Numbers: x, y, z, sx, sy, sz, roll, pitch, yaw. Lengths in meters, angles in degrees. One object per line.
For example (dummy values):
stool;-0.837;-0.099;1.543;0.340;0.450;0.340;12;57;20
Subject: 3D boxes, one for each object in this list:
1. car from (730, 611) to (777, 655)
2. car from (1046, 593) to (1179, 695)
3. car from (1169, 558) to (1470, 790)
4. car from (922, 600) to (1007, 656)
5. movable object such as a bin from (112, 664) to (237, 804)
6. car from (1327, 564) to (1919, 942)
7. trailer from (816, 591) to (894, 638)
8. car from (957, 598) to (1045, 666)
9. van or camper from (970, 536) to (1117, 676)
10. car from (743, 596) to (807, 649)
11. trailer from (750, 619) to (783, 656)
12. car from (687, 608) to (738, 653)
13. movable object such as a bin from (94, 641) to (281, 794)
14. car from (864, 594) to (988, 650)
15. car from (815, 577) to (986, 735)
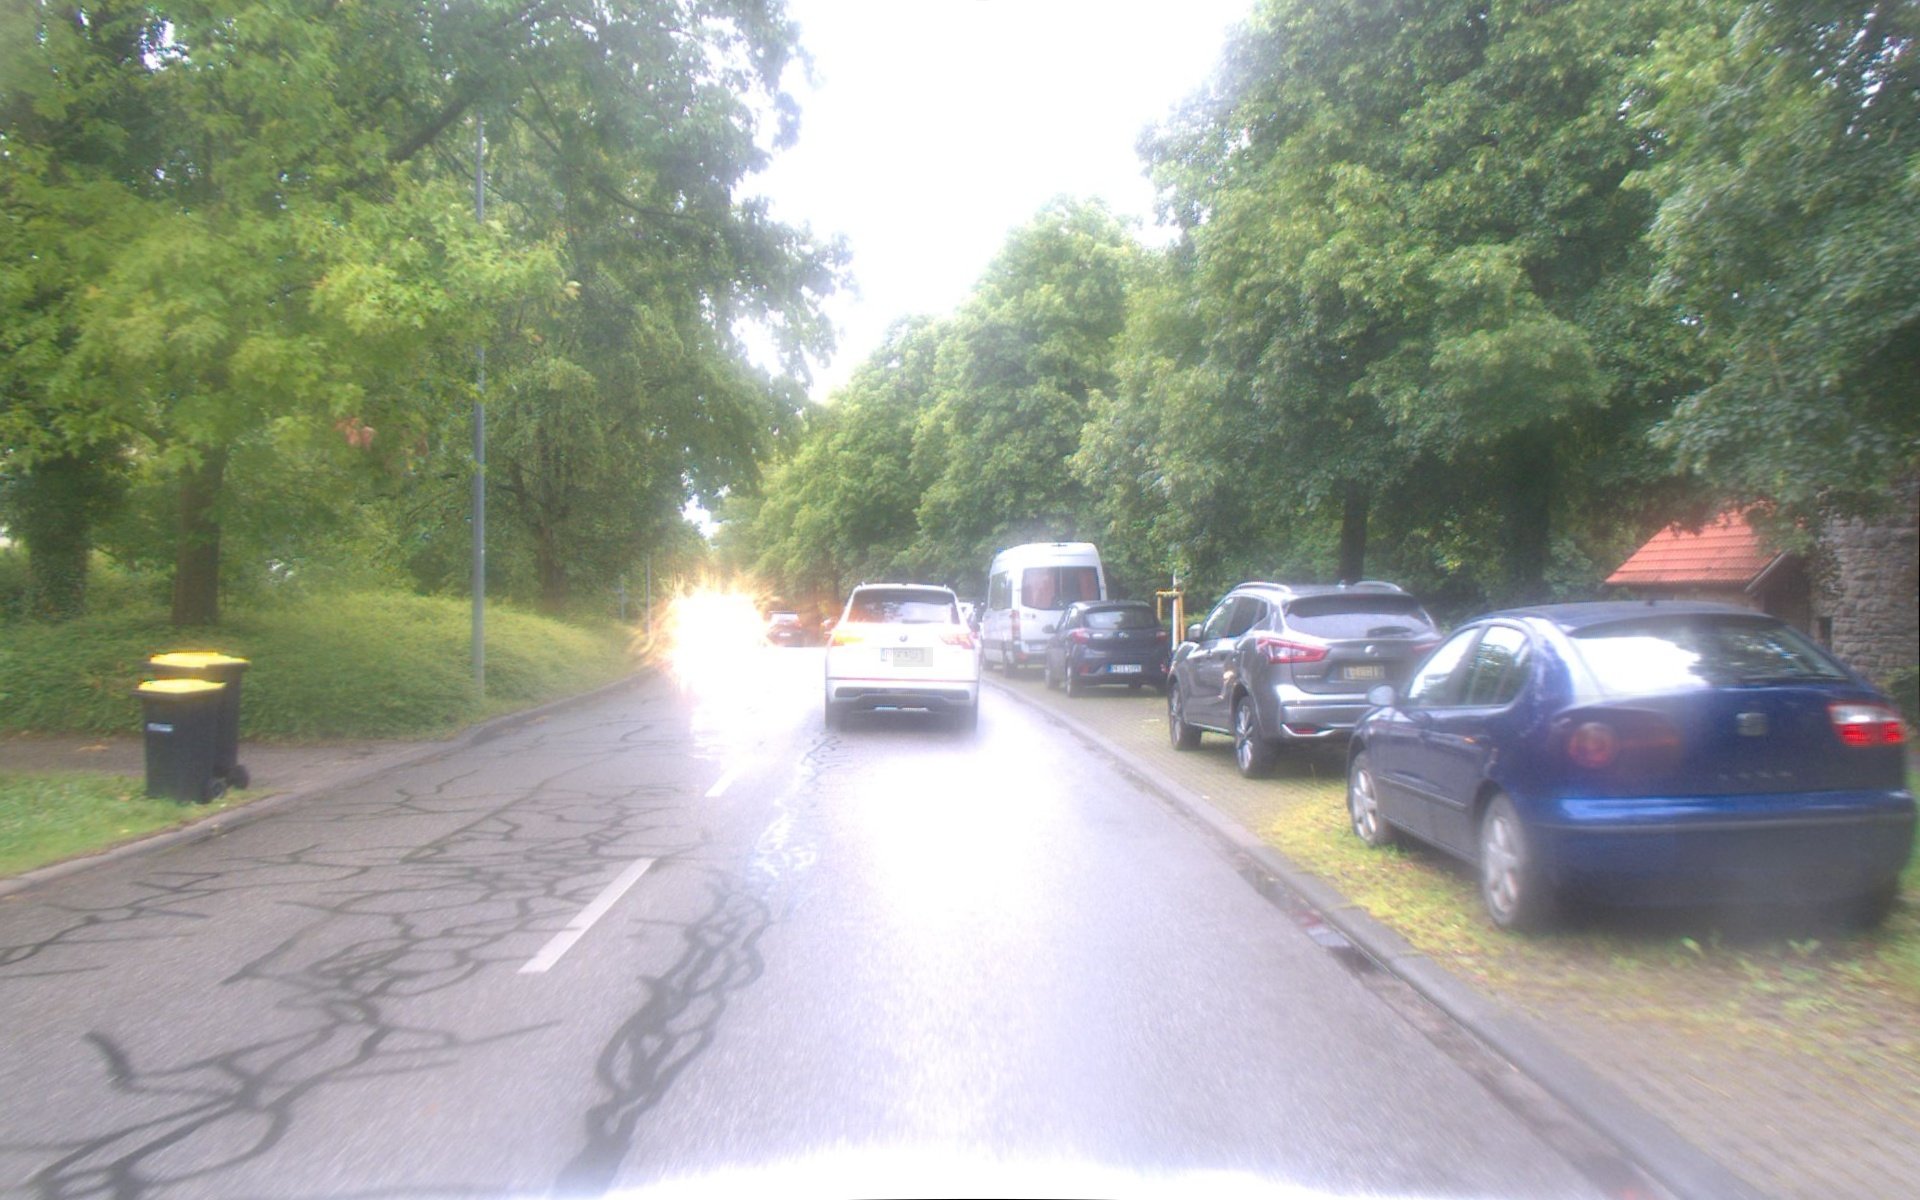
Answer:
car;-10.461;1.627;83.735;1.959;2.048;3.987;0;1;-13
car;2.451;0.672;27.392;1.827;1.537;3.724;-1;0;0
car;3.047;0.550;14.904;1.745;1.749;4.261;-1;0;0
car;0.071;0.779;48.735;1.956;1.523;4.559;-1;0;-7
movable object such as a bin;-5.936;1.001;12.521;0.635;0.996;0.578;2;0;0
car;3.216;0.588;8.586;1.707;1.478;4.000;-1;0;0
trailer;-4.569;0.662;70.984;2.407;1.845;5.872;-1;-2;-13
car;0.975;0.758;41.667;1.770;1.566;4.263;-2;0;-5
van or camper;1.627;0.068;35.757;1.977;2.628;8.427;1;1;-5
car;-7.760;0.915;69.020;1.962;2.048;3.982;0;1;-17
trailer;-11.913;2.307;101.758;1.504;2.112;3.985;-1;-3;-14
car;-8.996;1.095;60.340;1.634;1.503;3.727;-2;0;-6
movable object such as a bin;-6.192;0.925;13.314;1.016;1.124;0.966;2;0;0
car;-1.130;0.727;53.918;3.932;1.710;1.603;-3;-2;40
car;-0.779;0.598;20.374;1.867;1.715;4.198;-1;1;-3
